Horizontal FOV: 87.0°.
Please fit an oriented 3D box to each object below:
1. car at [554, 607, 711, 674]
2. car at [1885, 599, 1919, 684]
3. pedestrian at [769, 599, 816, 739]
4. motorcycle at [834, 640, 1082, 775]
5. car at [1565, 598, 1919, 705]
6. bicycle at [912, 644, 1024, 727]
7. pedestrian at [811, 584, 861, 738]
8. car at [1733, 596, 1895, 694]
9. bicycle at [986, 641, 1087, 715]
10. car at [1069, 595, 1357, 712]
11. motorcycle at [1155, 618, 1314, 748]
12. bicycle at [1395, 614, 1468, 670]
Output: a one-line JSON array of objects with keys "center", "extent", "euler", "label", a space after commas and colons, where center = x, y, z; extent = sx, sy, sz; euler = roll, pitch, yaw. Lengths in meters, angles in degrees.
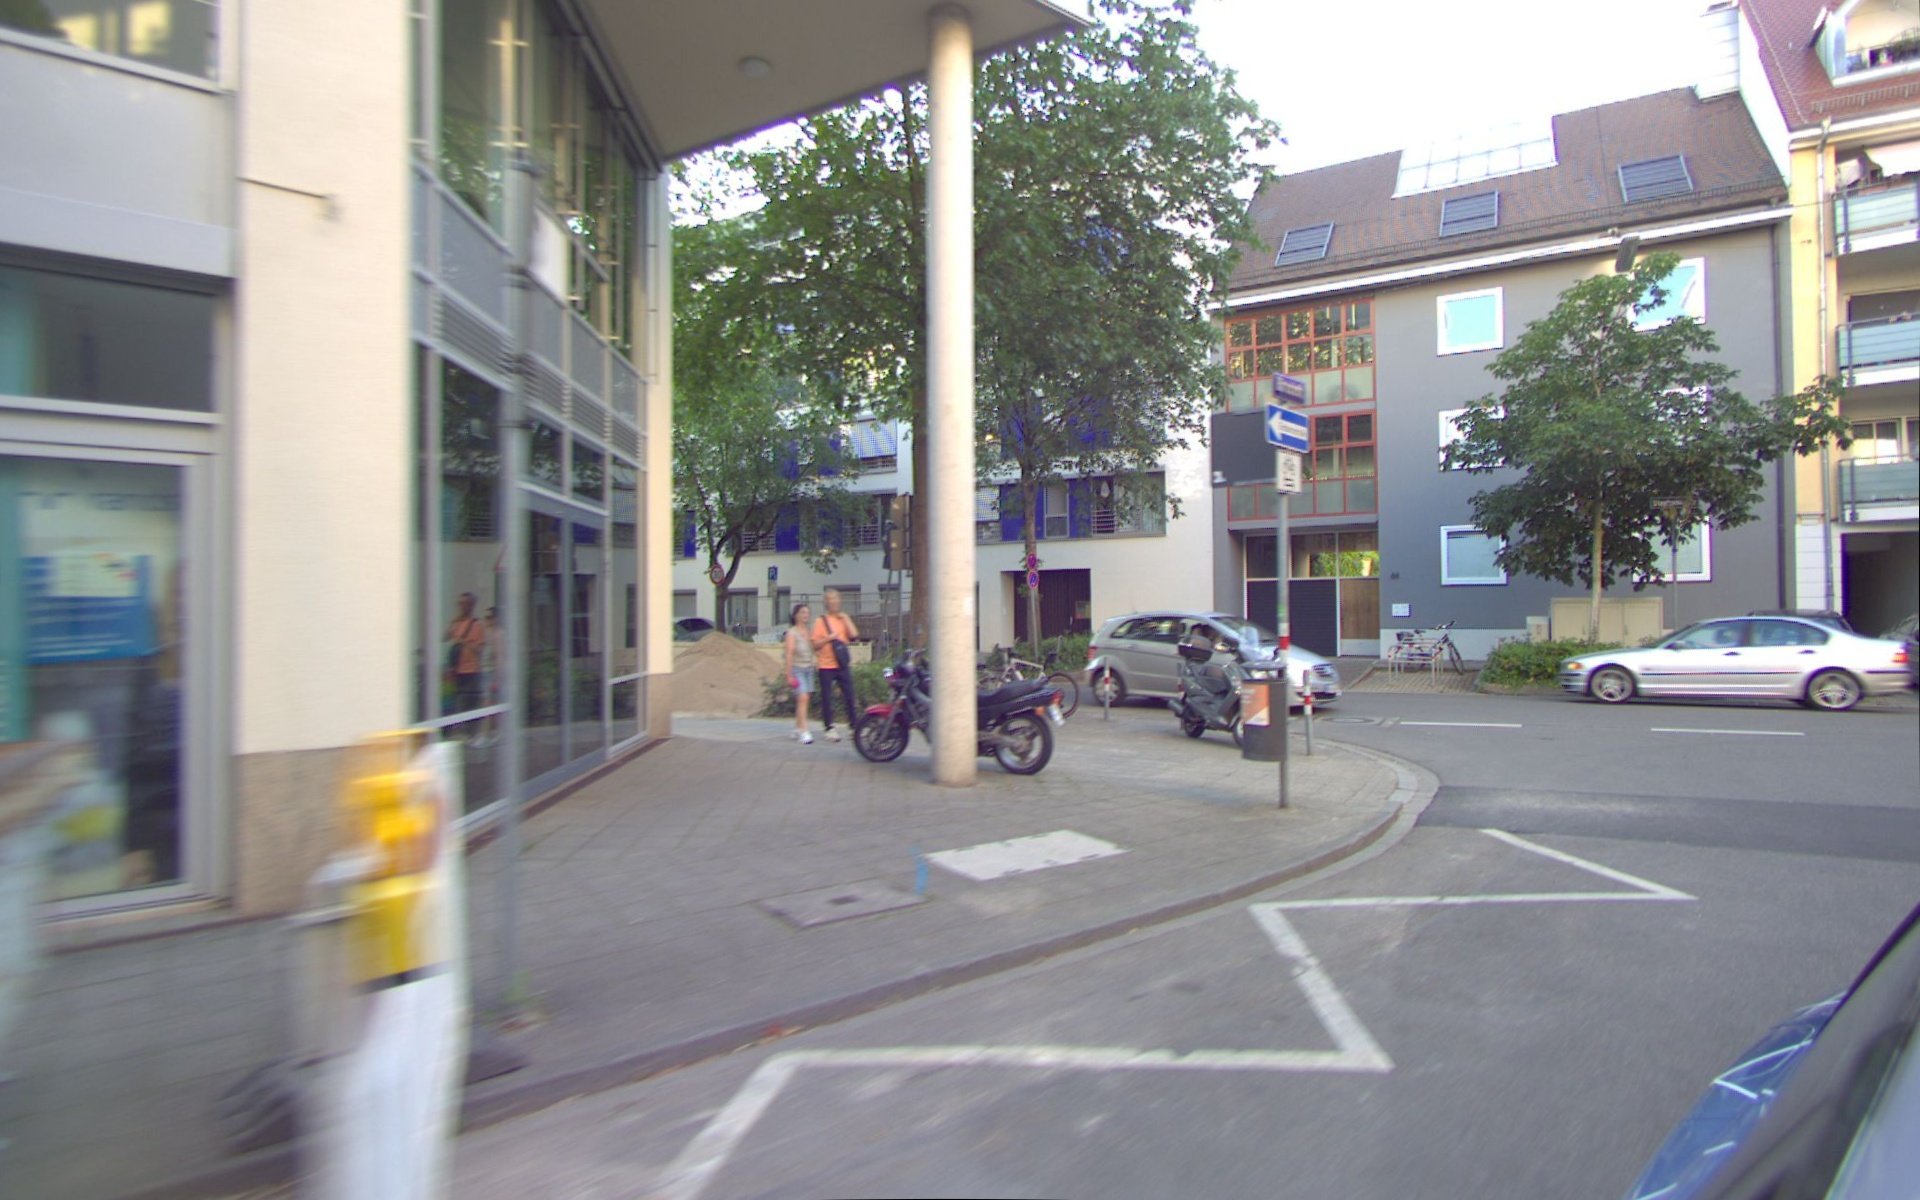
[{"center": [-8.157, 0.972, 25.133], "extent": [3.701, 1.527, 1.785], "euler": [-1, -1, 33], "label": "car"}, {"center": [17.776, 0.785, 17.492], "extent": [1.732, 1.420, 4.204], "euler": [0, 2, 30], "label": "car"}, {"center": [-1.913, 0.768, 11.532], "extent": [0.462, 1.550, 0.409], "euler": [-1, -1, -18], "label": "pedestrian"}, {"center": [-0.033, 0.957, 9.422], "extent": [2.223, 1.138, 0.637], "euler": [-1, -1, 21], "label": "motorcycle"}, {"center": [12.099, 0.791, 15.804], "extent": [4.500, 1.469, 1.868], "euler": [-1, -4, 31], "label": "car"}, {"center": [0.098, 1.125, 13.622], "extent": [1.518, 1.054, 0.371], "euler": [-1, -2, 29], "label": "bicycle"}, {"center": [-1.435, 0.689, 11.669], "extent": [0.502, 1.726, 0.409], "euler": [-1, -1, -15], "label": "pedestrian"}, {"center": [15.677, 0.736, 18.771], "extent": [1.619, 1.468, 3.818], "euler": [0, 2, 30], "label": "car"}, {"center": [1.159, 1.173, 15.441], "extent": [1.518, 1.079, 0.371], "euler": [-1, -1, 29], "label": "bicycle"}, {"center": [4.075, 0.860, 16.763], "extent": [4.256, 1.637, 1.778], "euler": [-3, -1, 43], "label": "car"}, {"center": [3.250, 0.929, 12.257], "extent": [0.783, 1.413, 2.212], "euler": [1, -1, -17], "label": "motorcycle"}, {"center": [10.844, 0.949, 23.270], "extent": [1.447, 1.224, 0.605], "euler": [-1, 0, 31], "label": "bicycle"}]
